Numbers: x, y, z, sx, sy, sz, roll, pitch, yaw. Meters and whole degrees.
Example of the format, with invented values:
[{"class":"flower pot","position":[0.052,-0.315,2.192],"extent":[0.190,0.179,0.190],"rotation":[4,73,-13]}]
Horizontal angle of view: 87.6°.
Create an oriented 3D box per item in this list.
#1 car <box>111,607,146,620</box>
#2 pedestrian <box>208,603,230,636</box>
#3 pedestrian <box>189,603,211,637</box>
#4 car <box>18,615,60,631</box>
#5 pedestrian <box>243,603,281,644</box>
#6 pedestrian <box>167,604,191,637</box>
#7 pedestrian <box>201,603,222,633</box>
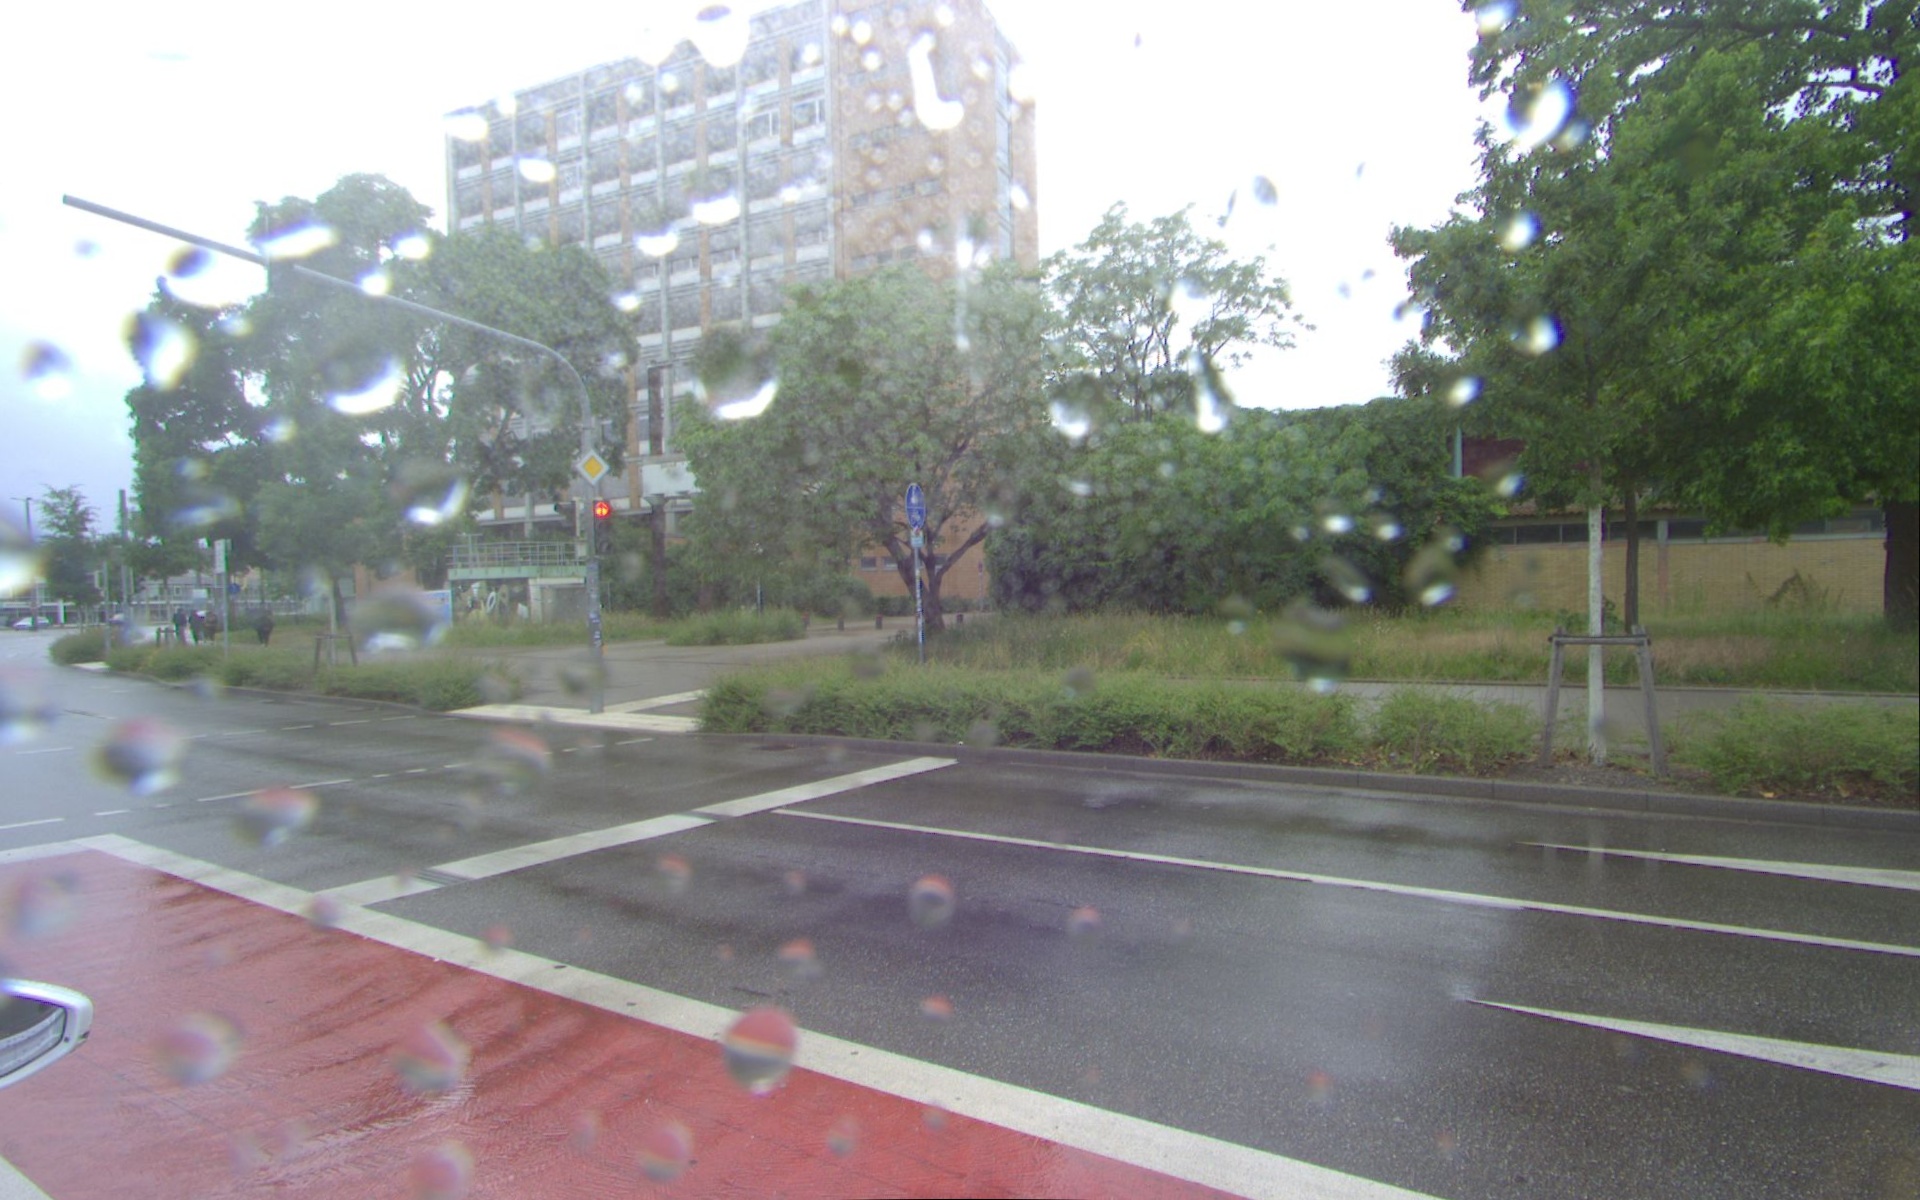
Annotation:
[{"class":"car","position":[-108.602,1.724,130.809],"extent":[1.763,1.665,4.153],"rotation":[-1,0,-13]},{"class":"pedestrian","position":[-36.490,0.959,49.317],"extent":[0.926,1.609,0.699],"rotation":[0,1,43]},{"class":"pedestrian","position":[-37.140,0.974,48.936],"extent":[0.926,1.609,0.699],"rotation":[0,1,43]},{"class":"car","position":[-106.420,2.658,115.775],"extent":[1.763,1.665,4.152],"rotation":[-1,0,-15]},{"class":"pedestrian","position":[-27.573,0.918,39.568],"extent":[0.926,1.609,1.017],"rotation":[0,1,42]},{"class":"pedestrian","position":[-37.920,0.991,48.592],"extent":[0.926,1.609,0.749],"rotation":[0,1,43]},{"class":"pedestrian","position":[-40.091,0.963,53.624],"extent":[0.926,1.609,0.699],"rotation":[0,1,43]}]
